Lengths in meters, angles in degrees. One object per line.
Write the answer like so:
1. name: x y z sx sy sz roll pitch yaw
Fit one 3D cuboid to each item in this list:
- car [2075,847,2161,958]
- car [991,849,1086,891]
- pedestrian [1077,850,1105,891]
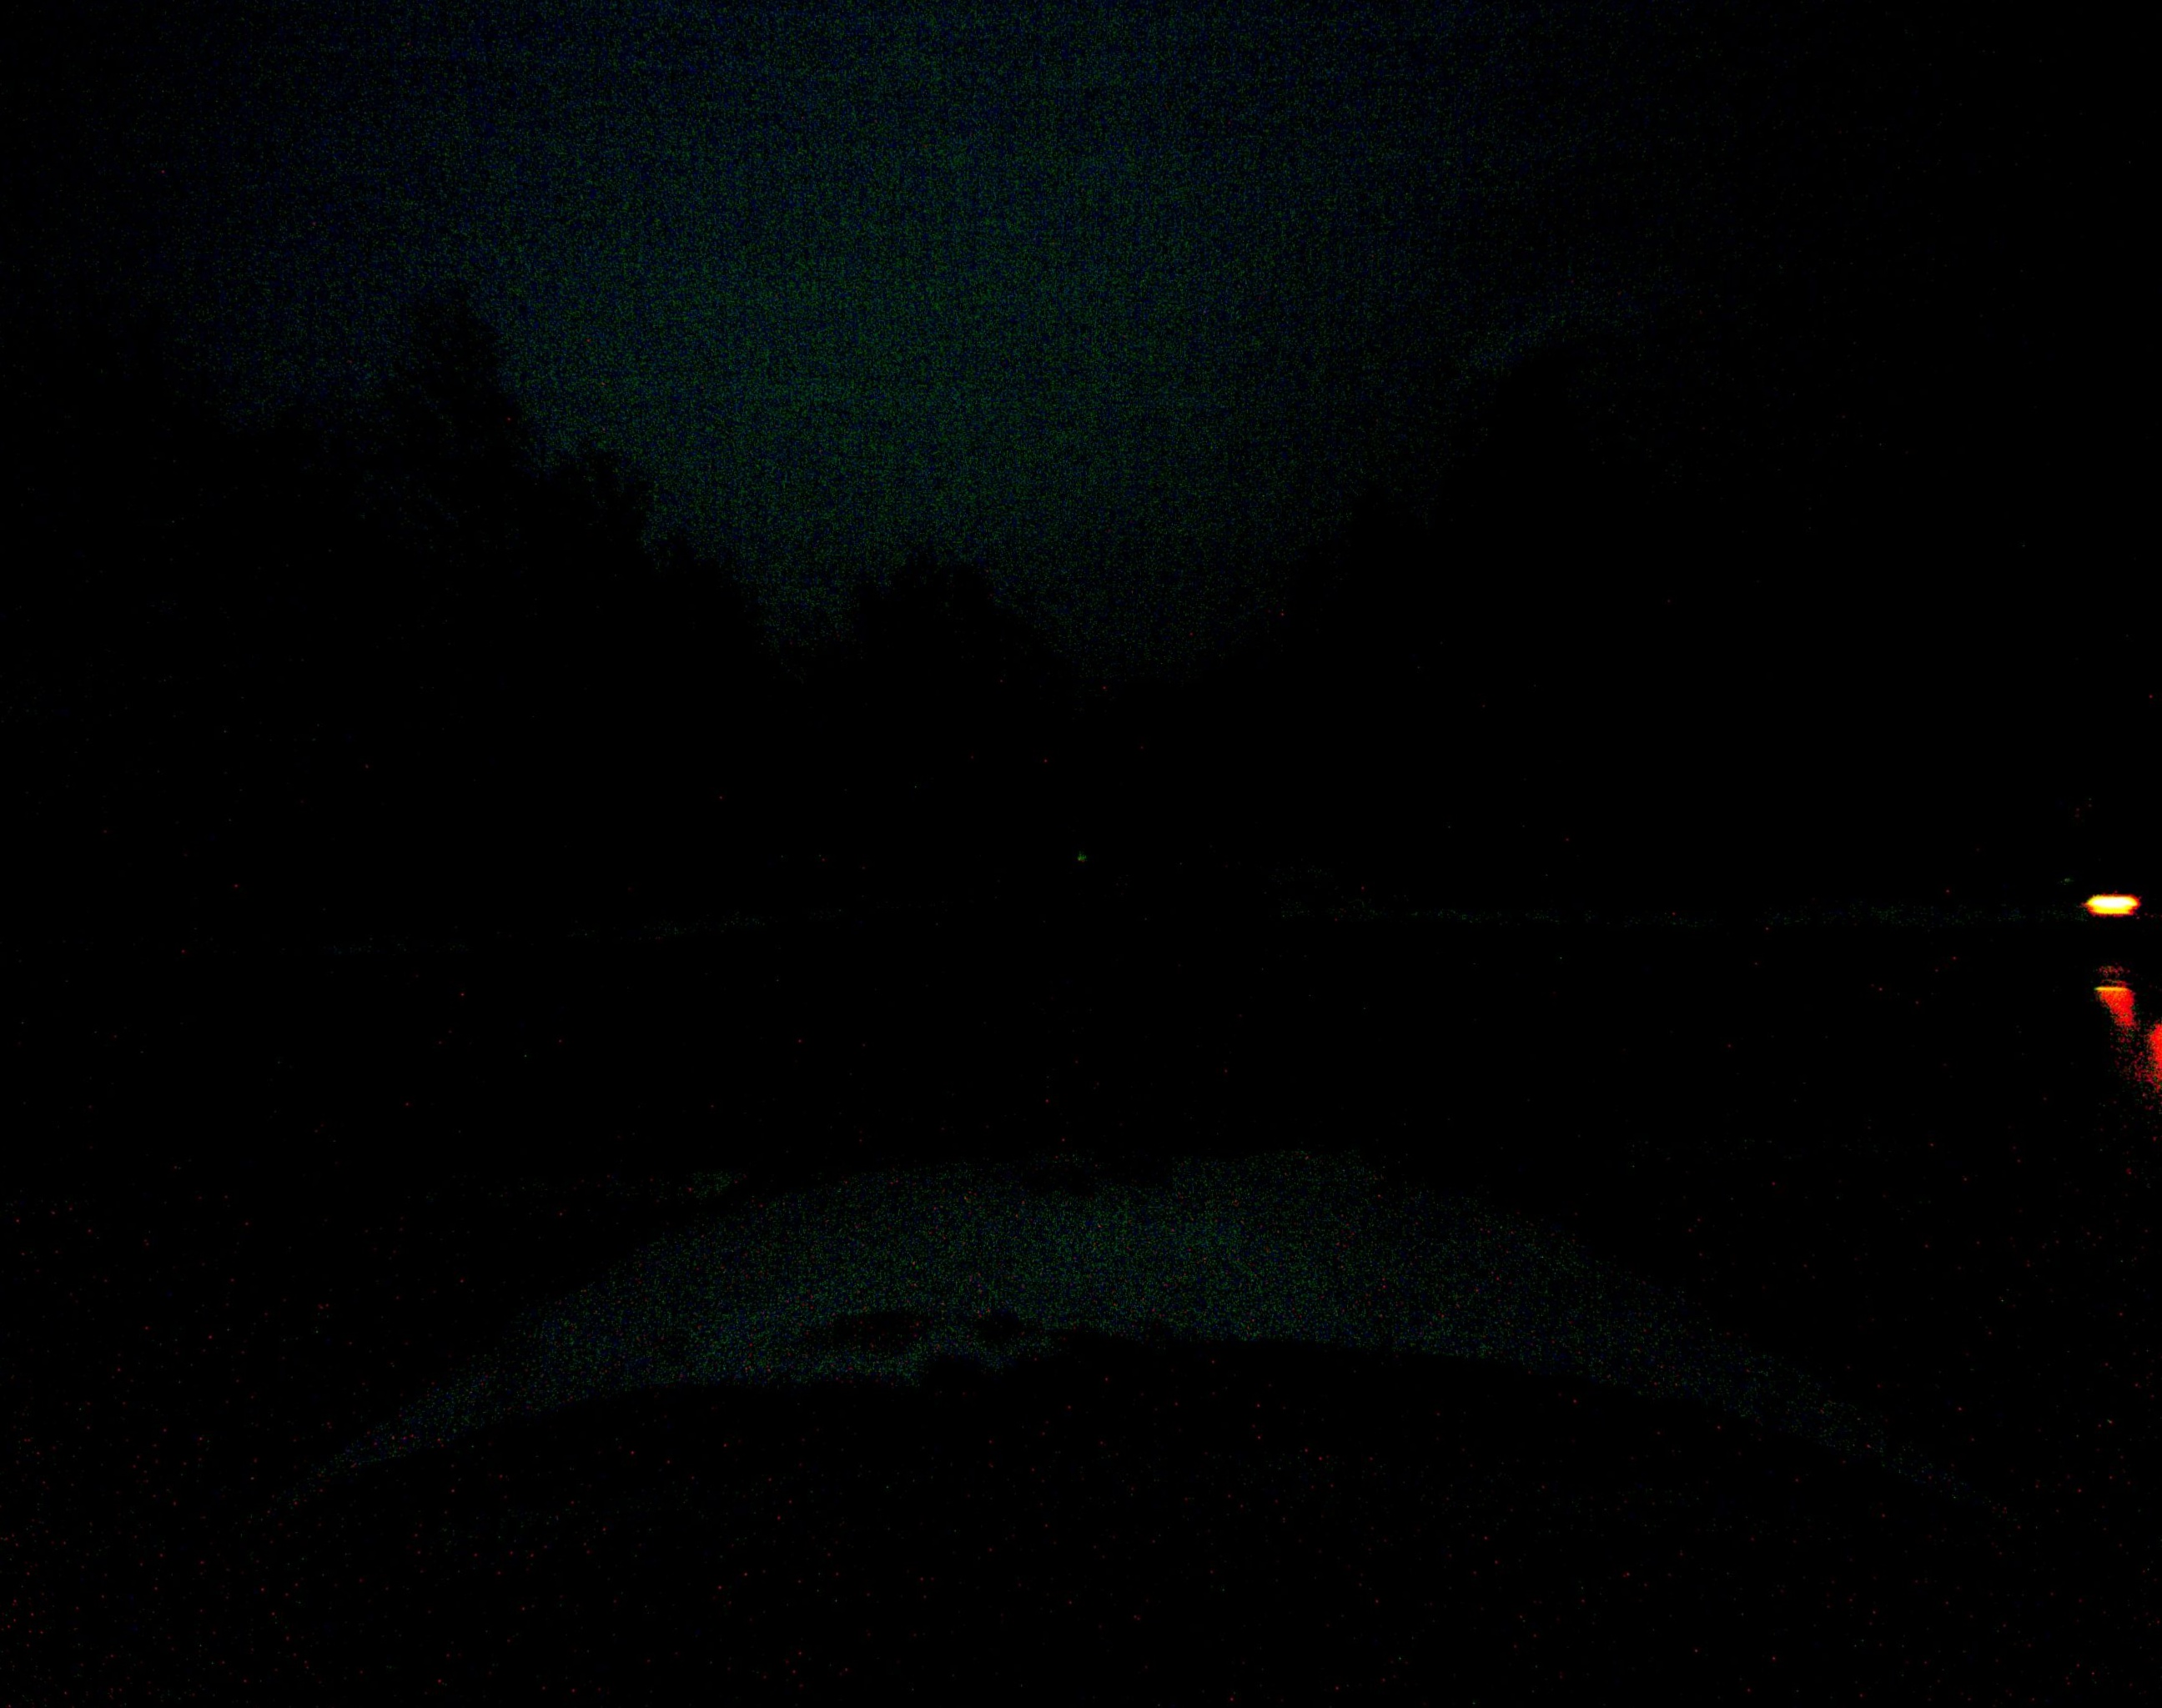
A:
1. car: 15.758 0.619 10.795 3.394 1.452 1.575 0 -1 -3
2. car: -1.965 0.749 37.865 3.915 1.881 2.009 0 -2 18
3. pedestrian: 0.447 0.744 36.615 0.952 1.828 0.930 -1 -2 23
